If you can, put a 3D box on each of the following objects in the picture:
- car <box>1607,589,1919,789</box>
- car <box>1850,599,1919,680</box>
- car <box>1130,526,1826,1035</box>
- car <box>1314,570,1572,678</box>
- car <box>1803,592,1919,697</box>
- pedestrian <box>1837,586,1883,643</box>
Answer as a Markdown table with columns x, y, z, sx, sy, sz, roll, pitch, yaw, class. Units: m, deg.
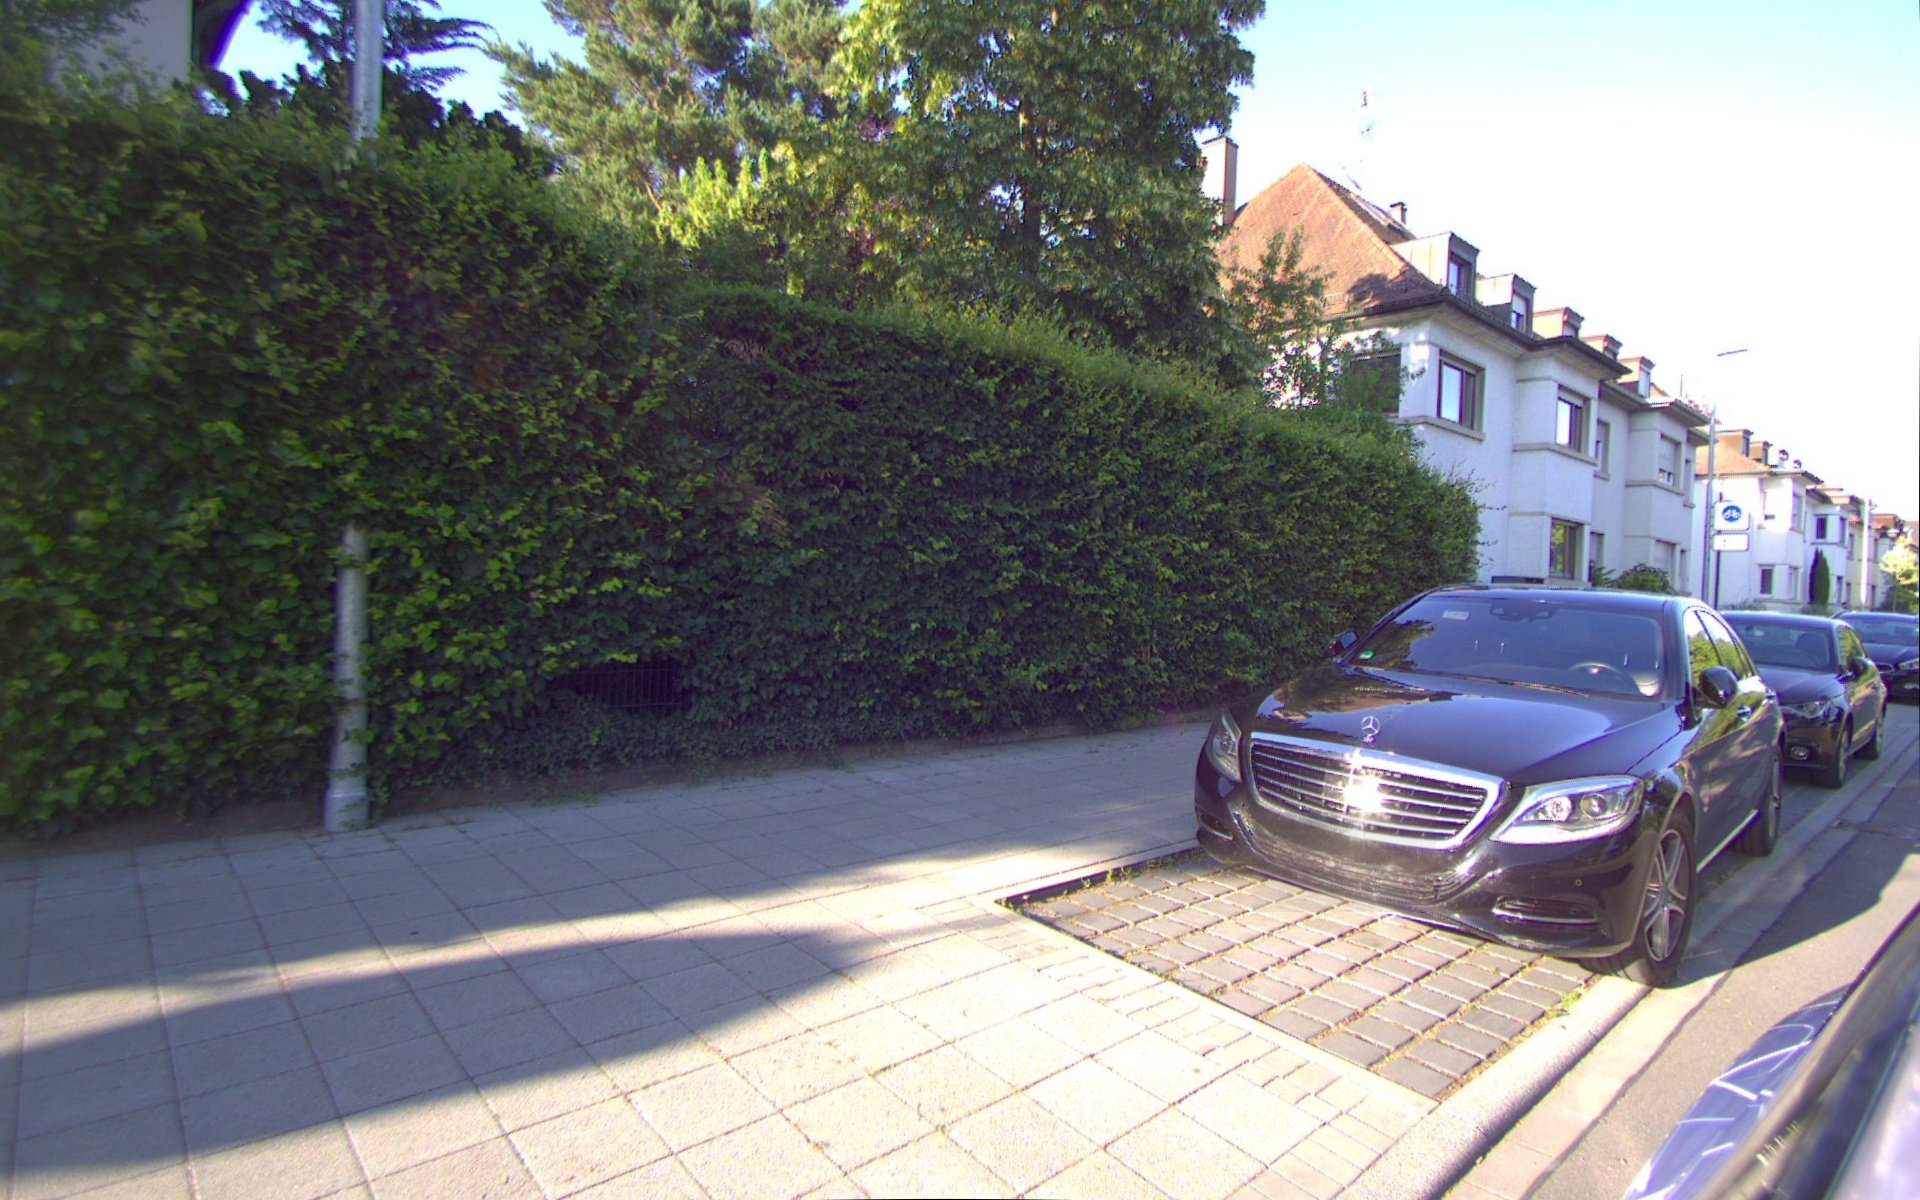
| x | y | z | sx | sy | sz | roll | pitch | yaw | class |
| --- | --- | --- | --- | --- | --- | --- | --- | --- | --- |
| 7.786 | 0.694 | 9.680 | 3.868 | 1.445 | 1.644 | 1 | 3 | -42 | car |
| 19.898 | 0.798 | 20.988 | 3.916 | 1.489 | 1.721 | 1 | 4 | -43 | car |
| 3.142 | 0.526 | 5.485 | 4.792 | 1.561 | 1.861 | 0 | 3 | -44 | car |
| 8.323 | 0.337 | 17.619 | 3.637 | 1.514 | 1.752 | 5 | 3 | 45 | car |
| 16.048 | 0.717 | 17.432 | 4.183 | 1.492 | 1.750 | 1 | 5 | -43 | car |
| 33.456 | 0.514 | 37.630 | 1.081 | 2.038 | 0.856 | 2 | 1 | 33 | pedestrian |
